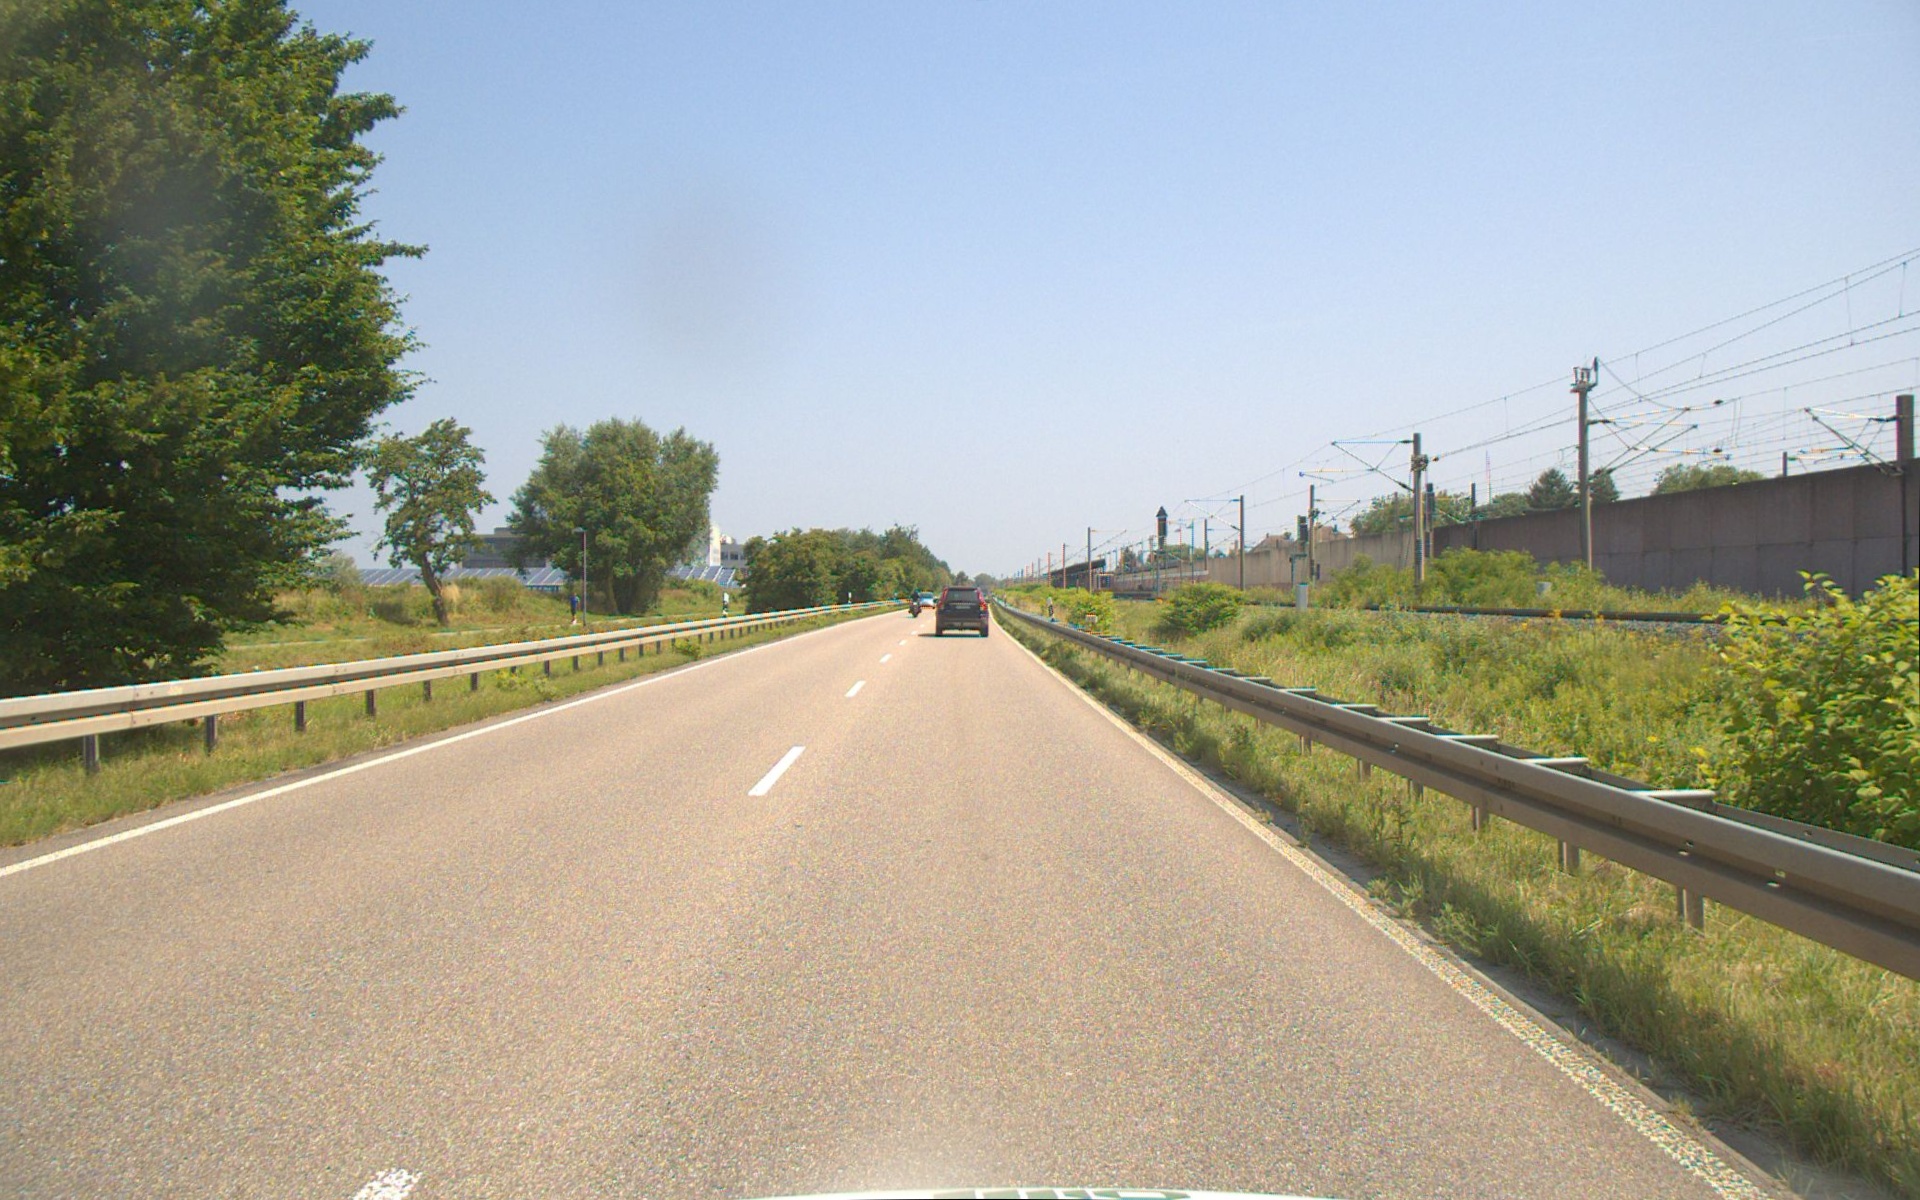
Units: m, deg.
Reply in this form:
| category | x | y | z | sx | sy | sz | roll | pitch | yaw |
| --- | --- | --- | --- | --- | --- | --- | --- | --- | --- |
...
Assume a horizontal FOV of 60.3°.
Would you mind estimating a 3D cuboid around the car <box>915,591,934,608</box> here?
| category | x | y | z | sx | sy | sz | roll | pitch | yaw |
| --- | --- | --- | --- | --- | --- | --- | --- | --- | --- |
| car | -3.208 | -0.023 | 149.992 | 1.663 | 1.500 | 4.686 | 1 | 0 | 0 |

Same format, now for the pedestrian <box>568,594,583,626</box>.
| category | x | y | z | sx | sy | sz | roll | pitch | yaw |
| --- | --- | --- | --- | --- | --- | --- | --- | --- | --- |
| pedestrian | -21.872 | 0.580 | 94.133 | 0.566 | 1.780 | 0.821 | -2 | 0 | 5 |

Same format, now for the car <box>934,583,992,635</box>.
| category | x | y | z | sx | sy | sz | roll | pitch | yaw |
| --- | --- | --- | --- | --- | --- | --- | --- | --- | --- |
| car | 0.070 | 0.302 | 58.237 | 1.953 | 1.730 | 3.999 | 0 | 0 | -2 |

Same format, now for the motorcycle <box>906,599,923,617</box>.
| category | x | y | z | sx | sy | sz | roll | pitch | yaw |
| --- | --- | --- | --- | --- | --- | --- | --- | --- | --- |
| motorcycle | -2.718 | 0.472 | 99.403 | 0.909 | 1.046 | 2.268 | 1 | 0 | 0 |

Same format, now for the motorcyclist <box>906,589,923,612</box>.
| category | x | y | z | sx | sy | sz | roll | pitch | yaw |
| --- | --- | --- | --- | --- | --- | --- | --- | --- | --- |
| motorcyclist | -2.715 | 0.026 | 99.382 | 0.973 | 1.332 | 0.935 | 1 | 0 | 0 |
